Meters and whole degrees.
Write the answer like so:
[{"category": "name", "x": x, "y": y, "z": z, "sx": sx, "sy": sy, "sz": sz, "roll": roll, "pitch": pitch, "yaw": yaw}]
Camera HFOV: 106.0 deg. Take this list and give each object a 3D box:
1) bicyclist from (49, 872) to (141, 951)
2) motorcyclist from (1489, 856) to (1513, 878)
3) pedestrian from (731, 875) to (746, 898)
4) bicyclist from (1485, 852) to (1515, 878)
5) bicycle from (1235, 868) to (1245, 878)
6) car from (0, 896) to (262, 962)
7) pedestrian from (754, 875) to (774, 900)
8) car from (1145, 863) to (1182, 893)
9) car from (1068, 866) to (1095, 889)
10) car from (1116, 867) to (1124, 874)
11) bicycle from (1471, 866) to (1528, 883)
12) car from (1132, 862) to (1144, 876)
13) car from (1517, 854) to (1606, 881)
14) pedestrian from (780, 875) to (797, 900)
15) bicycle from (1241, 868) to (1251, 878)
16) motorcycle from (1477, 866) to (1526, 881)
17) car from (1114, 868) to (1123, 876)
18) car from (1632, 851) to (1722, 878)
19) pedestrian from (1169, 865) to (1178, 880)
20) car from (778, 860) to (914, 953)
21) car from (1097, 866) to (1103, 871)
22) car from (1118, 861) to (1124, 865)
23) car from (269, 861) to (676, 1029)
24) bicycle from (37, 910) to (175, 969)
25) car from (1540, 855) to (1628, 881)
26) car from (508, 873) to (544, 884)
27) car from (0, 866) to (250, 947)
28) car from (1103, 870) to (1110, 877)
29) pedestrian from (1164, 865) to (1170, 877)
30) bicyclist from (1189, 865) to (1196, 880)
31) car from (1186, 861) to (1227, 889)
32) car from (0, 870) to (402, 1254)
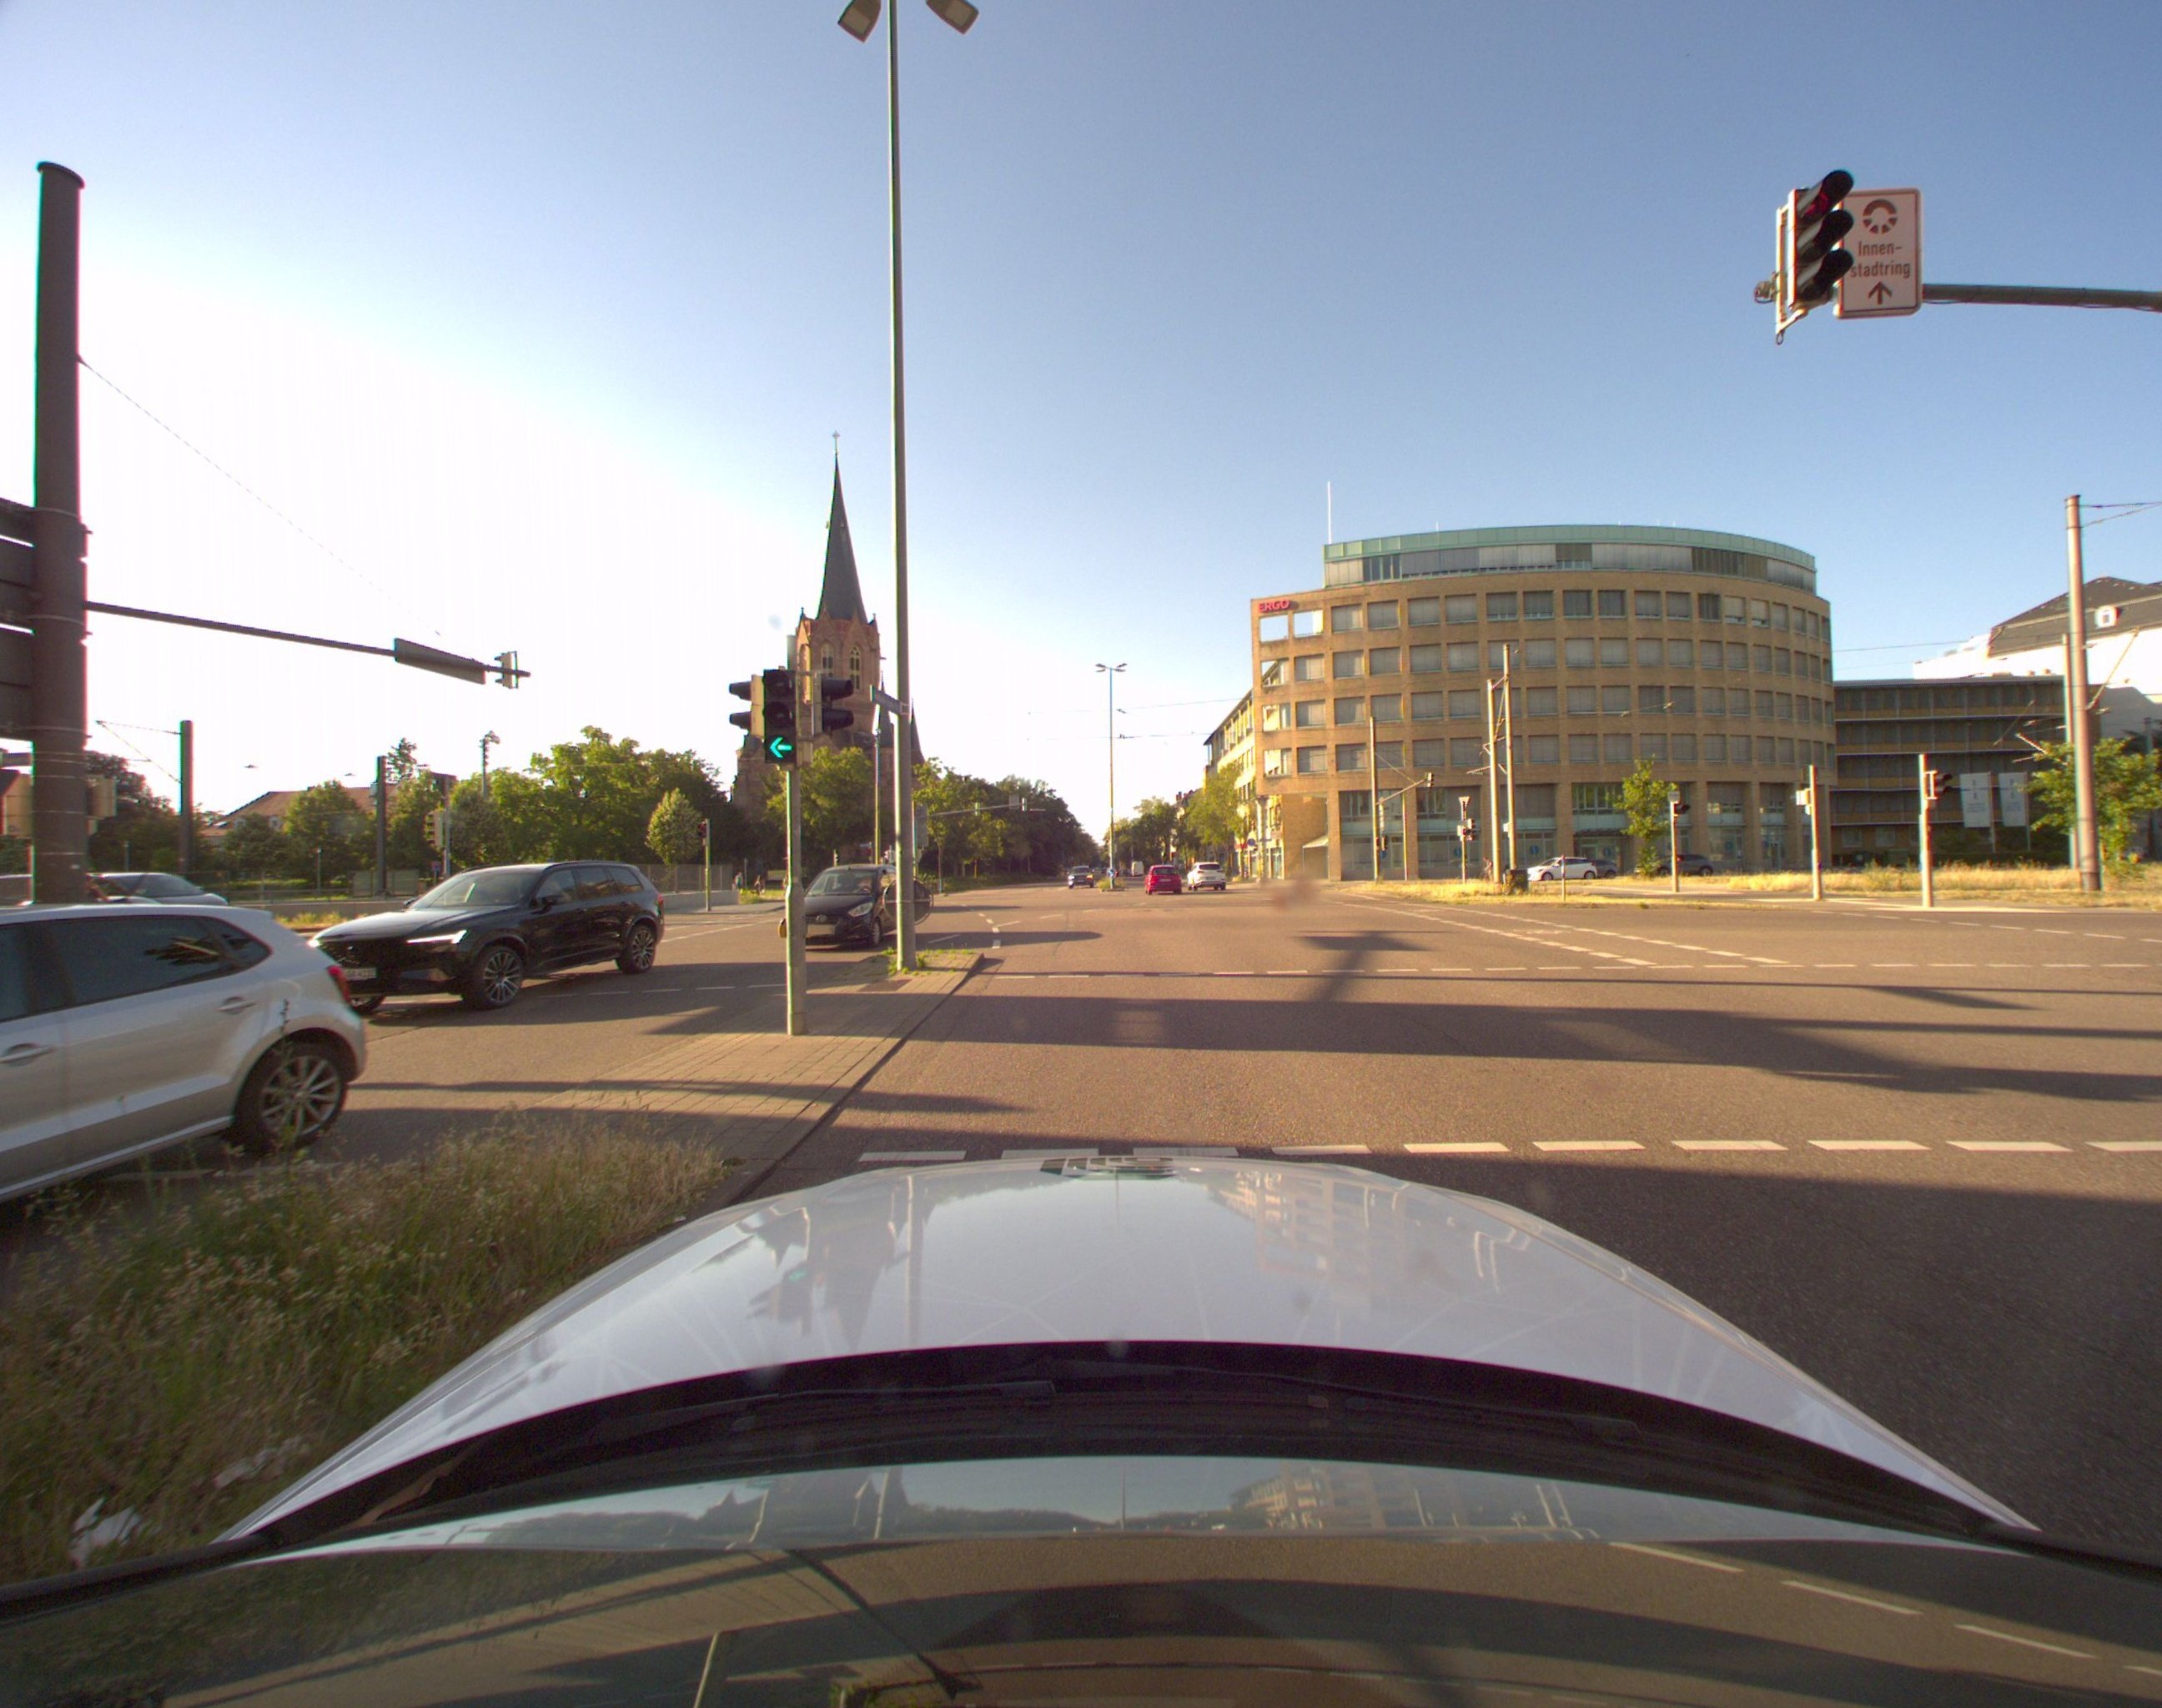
[{"category": "bicyclist", "x": -20.975, "y": 1.201, "z": 17.349, "sx": 0.733, "sy": 1.598, "sz": 0.963, "roll": -2, "pitch": 0, "yaw": 2}, {"category": "motorcyclist", "x": 27.723, "y": 0.877, "z": 53.744, "sx": 1.061, "sy": 1.435, "sz": 1.032, "roll": -1, "pitch": -1, "yaw": 1}, {"category": "pedestrian", "x": -26.334, "y": 2.494, "z": 62.631, "sx": 0.849, "sy": 1.696, "sz": 1.005, "roll": 1, "pitch": -2, "yaw": -39}, {"category": "bicyclist", "x": 26.380, "y": 0.716, "z": 51.304, "sx": 1.219, "sy": 1.572, "sz": 1.154, "roll": -1, "pitch": -1, "yaw": 0}, {"category": "bicycle", "x": 15.838, "y": 1.864, "z": 81.245, "sx": 0.644, "sy": 0.995, "sz": 2.081, "roll": -1, "pitch": -1, "yaw": 1}, {"category": "car", "x": -22.547, "y": 1.749, "z": 19.409, "sx": 4.174, "sy": 1.313, "sz": 1.801, "roll": -1, "pitch": -1, "yaw": -1}, {"category": "pedestrian", "x": -22.187, "y": 2.343, "z": 56.940, "sx": 1.004, "sy": 1.696, "sz": 0.849, "roll": -1, "pitch": -1, "yaw": 27}, {"category": "car", "x": 4.143, "y": 1.196, "z": 41.441, "sx": 1.663, "sy": 1.462, "sz": 4.002, "roll": 0, "pitch": -1, "yaw": 2}, {"category": "car", "x": 0.080, "y": 1.940, "z": 65.827, "sx": 1.986, "sy": 1.724, "sz": 5.032, "roll": -2, "pitch": -2, "yaw": 1}, {"category": "car", "x": 7.595, "y": 3.244, "z": 159.990, "sx": 1.588, "sy": 1.267, "sz": 3.268, "roll": -1, "pitch": -1, "yaw": 2}, {"category": "bicycle", "x": 26.347, "y": 1.277, "z": 51.302, "sx": 2.951, "sy": 1.000, "sz": 1.154, "roll": -1, "pitch": -1, "yaw": 0}, {"category": "car", "x": 9.988, "y": 2.563, "z": 142.309, "sx": 1.986, "sy": 2.441, "sz": 4.002, "roll": 0, "pitch": -1, "yaw": 2}, {"category": "car", "x": 28.654, "y": 0.816, "z": 48.683, "sx": 4.149, "sy": 1.492, "sz": 1.994, "roll": -1, "pitch": -1, "yaw": -1}, {"category": "pedestrian", "x": -19.961, "y": 2.277, "z": 55.529, "sx": 0.884, "sy": 1.696, "sz": 0.714, "roll": -1, "pitch": -2, "yaw": 40}, {"category": "bicycle", "x": 15.725, "y": 1.809, "z": 77.670, "sx": 0.644, "sy": 0.995, "sz": 2.081, "roll": -1, "pitch": -1, "yaw": 1}, {"category": "motorcycle", "x": 27.717, "y": 1.277, "z": 53.734, "sx": 2.708, "sy": 0.964, "sz": 1.032, "roll": -1, "pitch": -1, "yaw": 1}, {"category": "car", "x": 6.771, "y": 3.243, "z": 148.286, "sx": 1.588, "sy": 1.267, "sz": 3.268, "roll": -1, "pitch": -1, "yaw": 2}, {"category": "car", "x": 35.532, "y": 0.658, "z": 48.623, "sx": 4.037, "sy": 1.492, "sz": 1.820, "roll": -1, "pitch": -1, "yaw": 1}, {"category": "pedestrian", "x": 12.991, "y": 2.568, "z": 113.895, "sx": 1.103, "sy": 1.976, "sz": 1.161, "roll": -1, "pitch": -1, "yaw": 2}, {"category": "car", "x": -4.494, "y": 0.931, "z": 16.049, "sx": 1.572, "sy": 1.544, "sz": 3.477, "roll": -3, "pitch": 0, "yaw": 0}, {"category": "car", "x": 5.883, "y": 4.447, "z": 249.203, "sx": 1.879, "sy": 1.671, "sz": 4.002, "roll": 0, "pitch": -1, "yaw": 2}, {"category": "car", "x": 12.368, "y": 2.745, "z": 252.788, "sx": 1.588, "sy": 1.267, "sz": 3.268, "roll": -1, "pitch": -1, "yaw": 2}, {"category": "car", "x": -7.767, "y": 1.003, "z": 11.190, "sx": 1.809, "sy": 1.711, "sz": 4.788, "roll": -3, "pitch": 0, "yaw": 2}, {"category": "bicycle", "x": -20.728, "y": 1.806, "z": 17.342, "sx": 1.770, "sy": 1.097, "sz": 0.952, "roll": -2, "pitch": 0, "yaw": 1}, {"category": "car", "x": 33.096, "y": 0.927, "z": 53.676, "sx": 4.464, "sy": 1.537, "sz": 1.987, "roll": -1, "pitch": -1, "yaw": 2}, {"category": "car", "x": -90.844, "y": 3.975, "z": 133.335, "sx": 4.450, "sy": 1.571, "sz": 1.993, "roll": -1, "pitch": -1, "yaw": -10}, {"category": "car", "x": -26.592, "y": 1.411, "z": 22.615, "sx": 4.907, "sy": 2.014, "sz": 1.999, "roll": -1, "pitch": -1, "yaw": -1}, {"category": "car", "x": 5.455, "y": 4.138, "z": 173.455, "sx": 1.588, "sy": 1.267, "sz": 3.268, "roll": -1, "pitch": -1, "yaw": 2}, {"category": "pedestrian", "x": 13.497, "y": 2.644, "z": 128.272, "sx": 0.844, "sy": 1.803, "sz": 0.776, "roll": -1, "pitch": -1, "yaw": 2}, {"category": "bicyclist", "x": 10.254, "y": 1.733, "z": 74.804, "sx": 0.589, "sy": 1.369, "sz": 0.930, "roll": 0, "pitch": -1, "yaw": 2}, {"category": "car", "x": 7.366, "y": 1.210, "z": 47.996, "sx": 1.909, "sy": 1.607, "sz": 4.271, "roll": 0, "pitch": -1, "yaw": 2}, {"category": "car", "x": -5.287, "y": 0.905, "z": 3.332, "sx": 1.669, "sy": 1.544, "sz": 3.808, "roll": -3, "pitch": 0, "yaw": 2}]
